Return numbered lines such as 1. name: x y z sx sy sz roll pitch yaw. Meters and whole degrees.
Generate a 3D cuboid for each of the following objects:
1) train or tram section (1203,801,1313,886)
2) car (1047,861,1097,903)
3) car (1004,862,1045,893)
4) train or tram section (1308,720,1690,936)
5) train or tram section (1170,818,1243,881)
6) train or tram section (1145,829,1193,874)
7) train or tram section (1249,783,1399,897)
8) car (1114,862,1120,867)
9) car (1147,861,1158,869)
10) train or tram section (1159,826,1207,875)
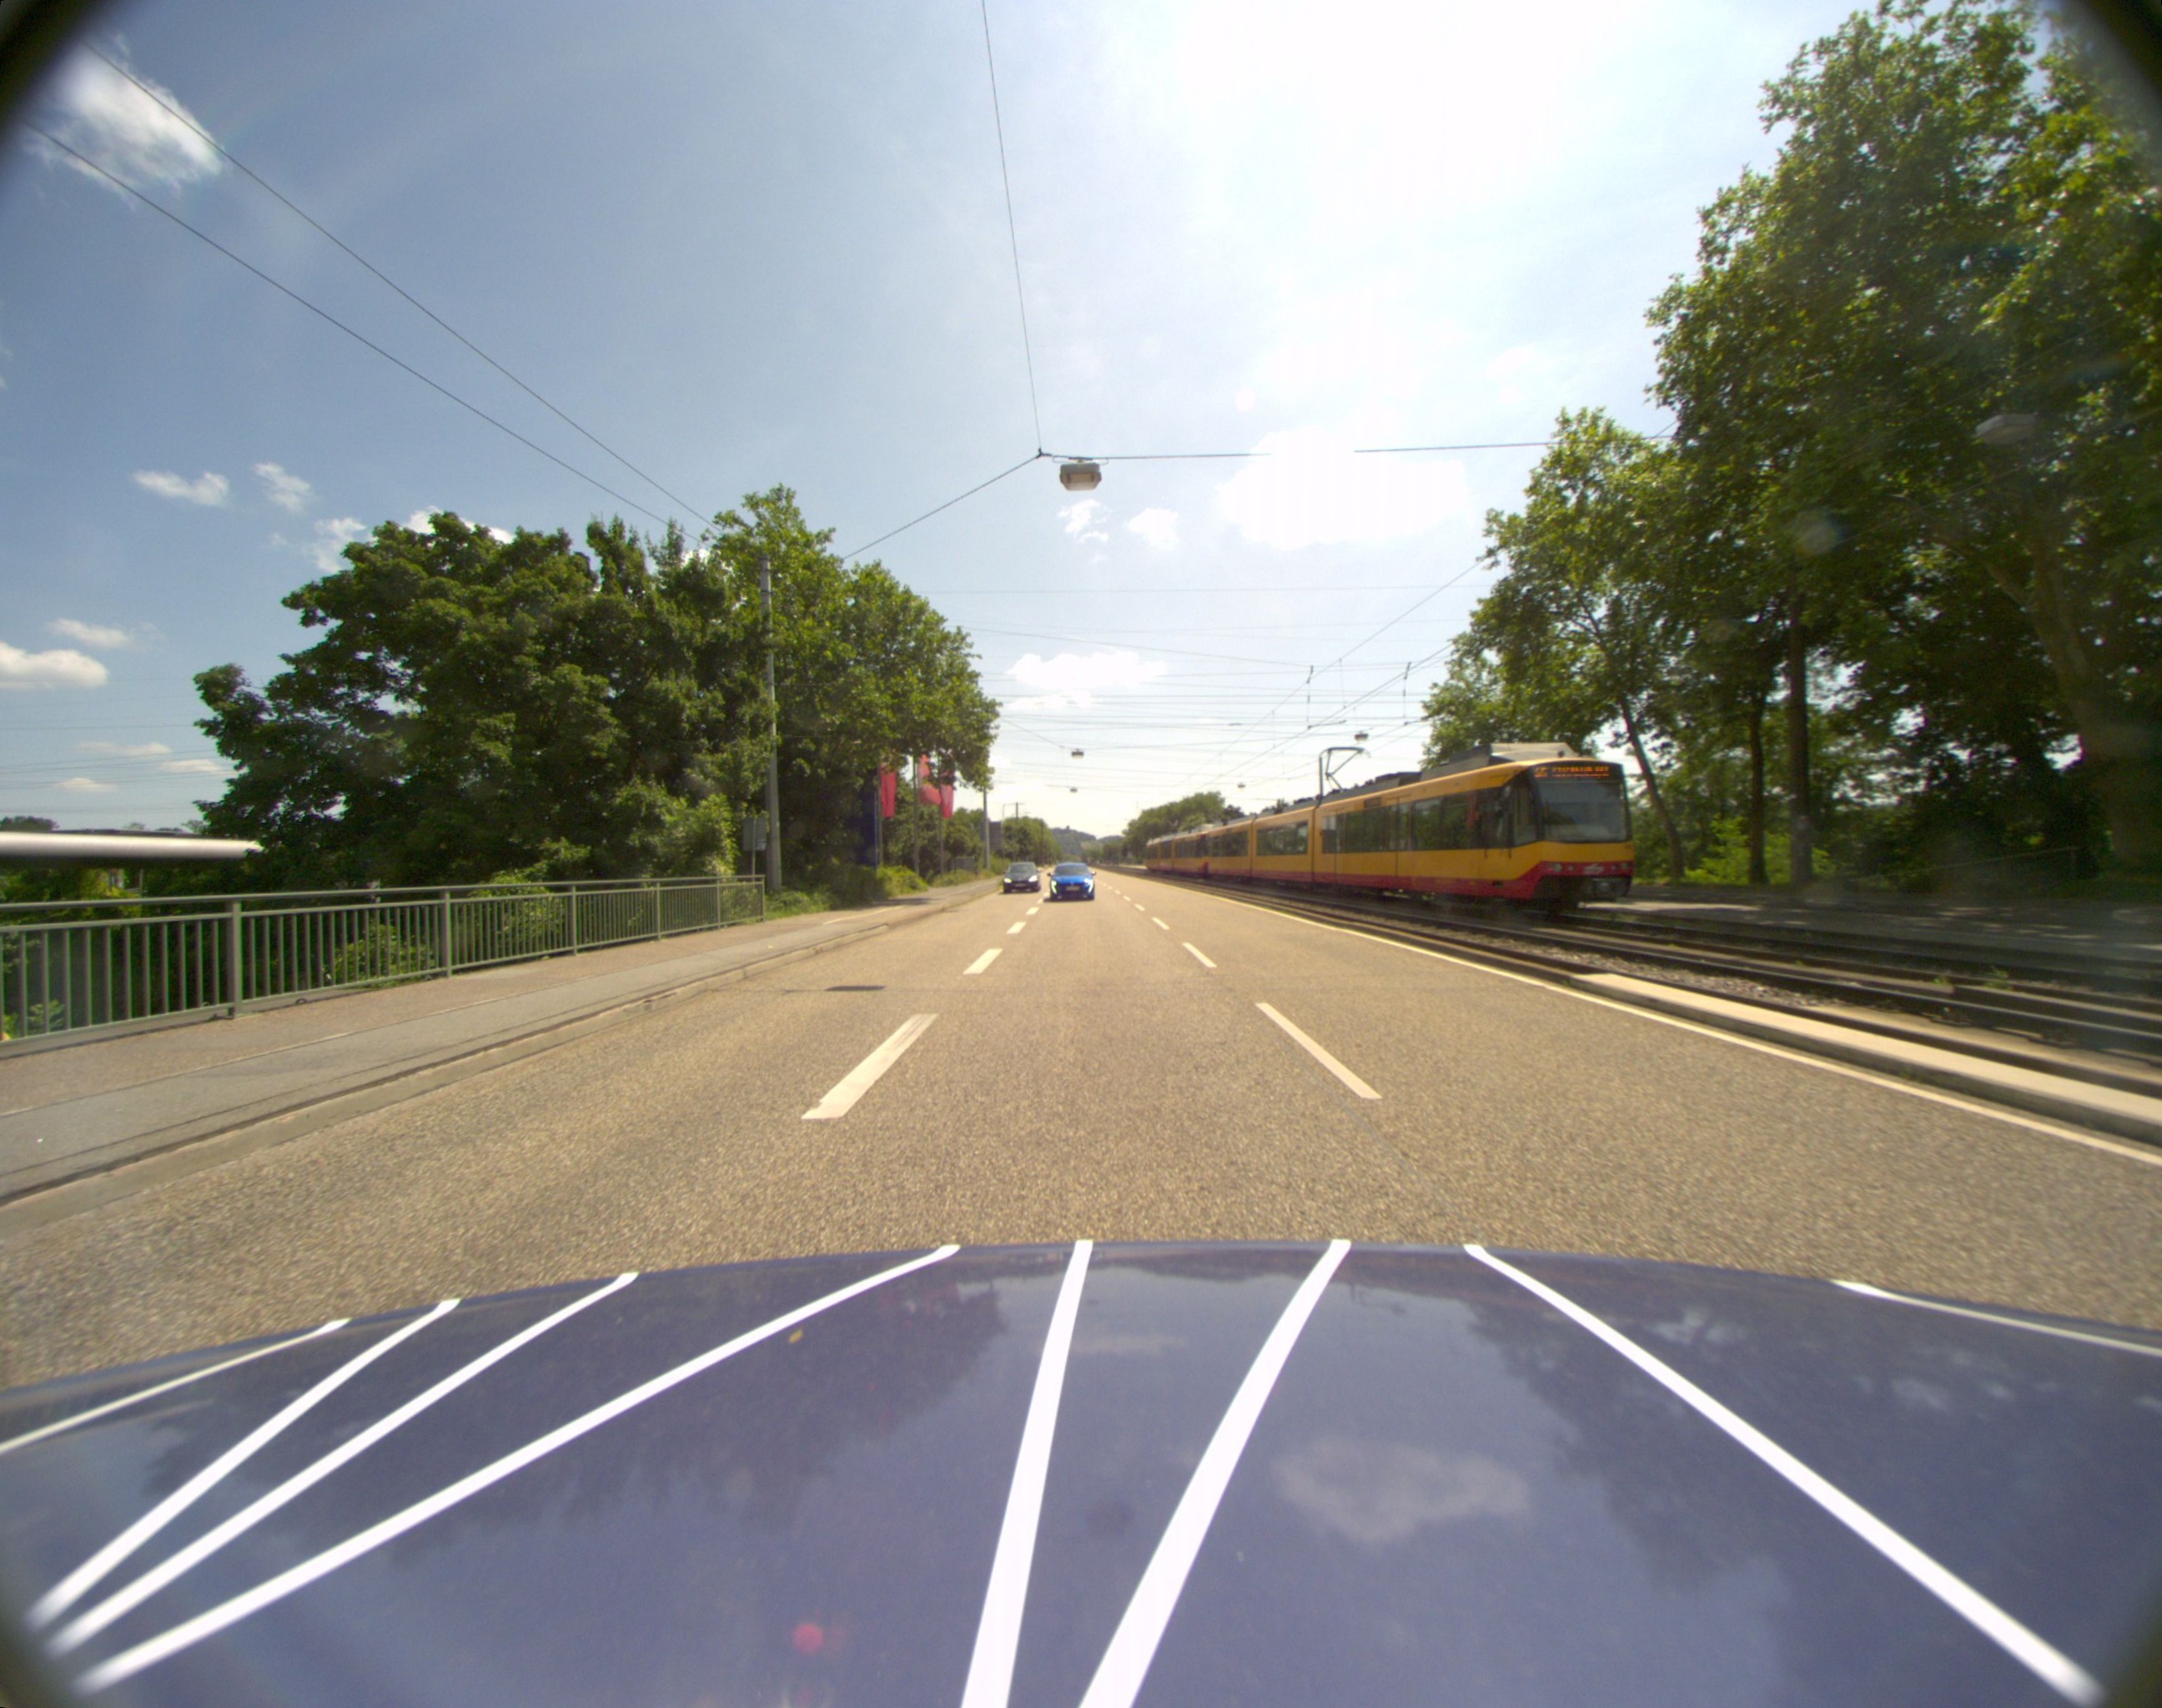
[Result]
1. train or tram section: 9.840 -0.538 44.294 3.046 4.130 13.480 -1 0 -1
2. car: -0.374 1.036 30.311 1.771 1.463 4.467 -2 0 -1
3. car: -2.903 1.190 39.593 1.771 1.422 4.000 -2 0 0
4. train or tram section: 10.165 -0.522 21.642 3.046 4.116 13.980 -1 0 -1
5. train or tram section: 9.470 -0.302 59.413 3.056 4.242 14.034 -1 0 -1
6. train or tram section: 9.113 -0.268 80.641 3.056 4.242 15.421 -1 0 -1
7. train or tram section: 10.017 -0.528 32.914 3.046 4.124 10.231 -1 0 -1
8. car: 12.350 3.630 262.394 1.862 1.916 5.007 0 0 -1
9. car: 14.136 2.163 150.815 1.757 1.526 3.956 0 0 -2
10. train or tram section: 9.254 -0.298 69.712 3.056 4.242 8.001 -1 0 -1
